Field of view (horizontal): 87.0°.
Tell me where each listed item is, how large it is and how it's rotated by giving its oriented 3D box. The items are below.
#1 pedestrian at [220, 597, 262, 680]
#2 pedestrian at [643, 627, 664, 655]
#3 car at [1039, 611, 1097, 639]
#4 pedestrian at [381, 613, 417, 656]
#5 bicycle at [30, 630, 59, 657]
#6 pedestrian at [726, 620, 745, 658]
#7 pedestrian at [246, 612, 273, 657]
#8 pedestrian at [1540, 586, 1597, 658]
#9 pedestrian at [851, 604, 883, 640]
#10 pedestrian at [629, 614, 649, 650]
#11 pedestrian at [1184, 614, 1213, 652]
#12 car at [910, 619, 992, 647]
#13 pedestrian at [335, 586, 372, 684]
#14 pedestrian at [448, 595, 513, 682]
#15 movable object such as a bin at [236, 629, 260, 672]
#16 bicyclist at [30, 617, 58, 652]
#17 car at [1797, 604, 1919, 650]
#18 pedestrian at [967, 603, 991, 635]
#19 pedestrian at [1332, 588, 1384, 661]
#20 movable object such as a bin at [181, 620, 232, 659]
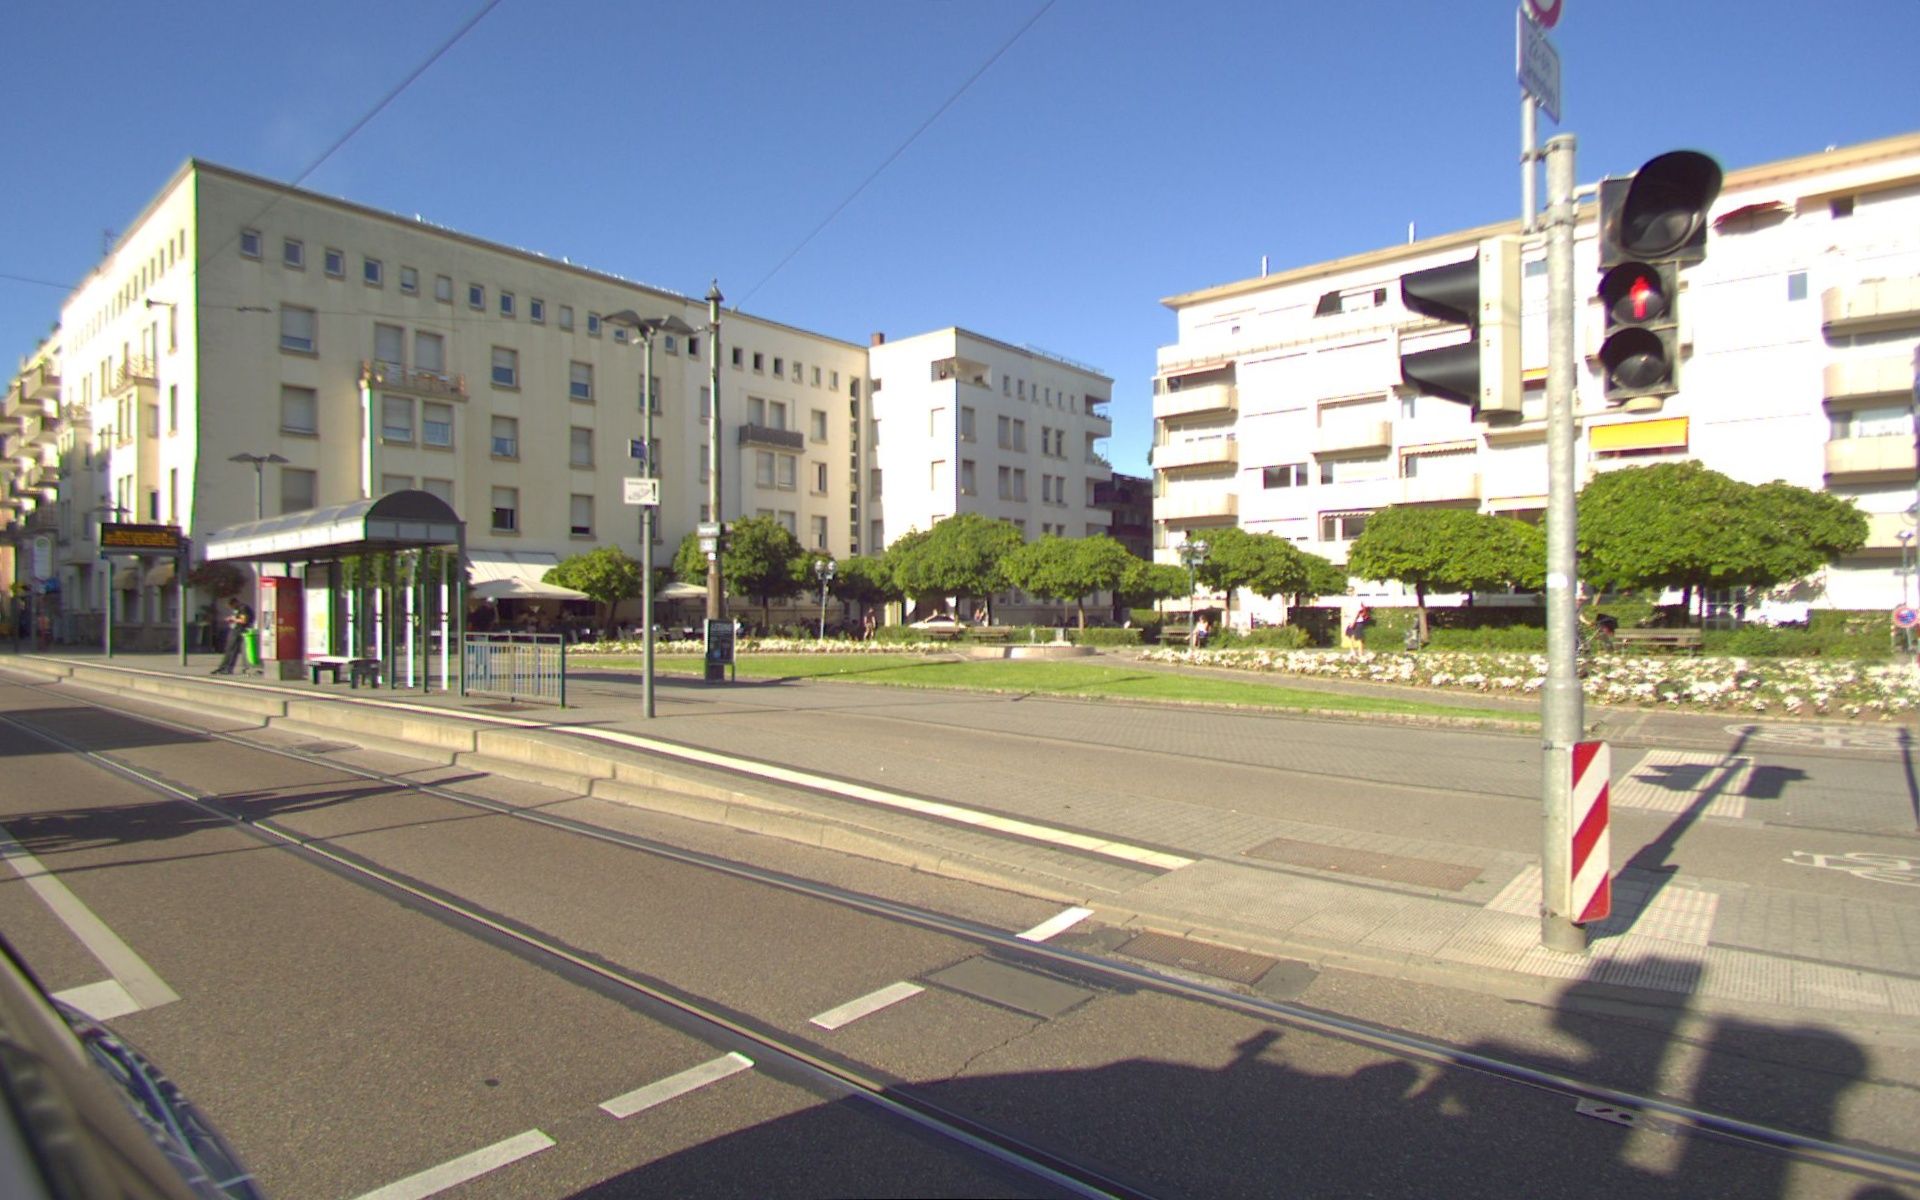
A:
[{"bbox_3d":[-15.172,0.813,21.360,0.607,1.731,0.542,-1,-3,43],"label":"pedestrian"},{"bbox_3d":[-14.008,1.872,46.260,0.672,1.280,0.636,-5,-5,36],"label":"pedestrian"},{"bbox_3d":[5.974,1.371,55.958,2.931,1.497,1.399,-1,-1,41],"label":"car"},{"bbox_3d":[-22.226,1.370,40.113,0.755,1.657,1.054,-5,-5,35],"label":"pedestrian"},{"bbox_3d":[-39.765,1.876,43.944,1.976,1.121,0.720,-1,-1,41],"label":"bicycle"},{"bbox_3d":[-10.591,1.832,47.809,0.710,1.750,0.673,-2,-4,1],"label":"pedestrian"},{"bbox_3d":[-26.584,1.318,38.420,0.662,1.657,0.753,0,-4,-23],"label":"pedestrian"},{"bbox_3d":[17.822,0.638,29.648,1.232,2.029,1.207,-1,-1,40],"label":"pedestrian"},{"bbox_3d":[-4.666,1.096,50.941,1.080,1.801,1.161,-1,-1,39],"label":"pedestrian"},{"bbox_3d":[-15.871,1.574,50.097,0.677,1.750,0.671,-3,-4,13],"label":"pedestrian"},{"bbox_3d":[8.784,1.193,37.215,0.678,1.370,1.039,-1,-1,36],"label":"pedestrian"},{"bbox_3d":[-0.459,1.635,50.472,3.713,1.310,1.973,-1,-1,41],"label":"car"},{"bbox_3d":[-11.907,0.688,19.860,0.526,1.873,0.423,-2,-4,43],"label":"pedestrian"},{"bbox_3d":[-9.689,0.760,20.437,0.980,1.693,0.976,1,-1,-39],"label":"pedestrian"},{"bbox_3d":[-14.563,1.031,20.700,0.416,0.866,0.332,-1,-1,43],"label":"movable object such as a bin"},{"bbox_3d":[-39.785,1.485,43.957,0.877,1.466,0.819,-1,0,41],"label":"bicyclist"},{"bbox_3d":[28.137,0.828,31.348,3.311,1.364,1.627,-1,-1,42],"label":"car"},{"bbox_3d":[1.239,1.199,65.295,1.090,2.029,1.079,-1,-1,40],"label":"pedestrian"},{"bbox_3d":[10.232,0.617,26.039,0.932,1.831,0.871,0,-1,-38],"label":"pedestrian"},{"bbox_3d":[-28.182,1.451,37.836,1.127,1.410,1.302,-1,-1,39],"label":"movable object such as a bin"}]
